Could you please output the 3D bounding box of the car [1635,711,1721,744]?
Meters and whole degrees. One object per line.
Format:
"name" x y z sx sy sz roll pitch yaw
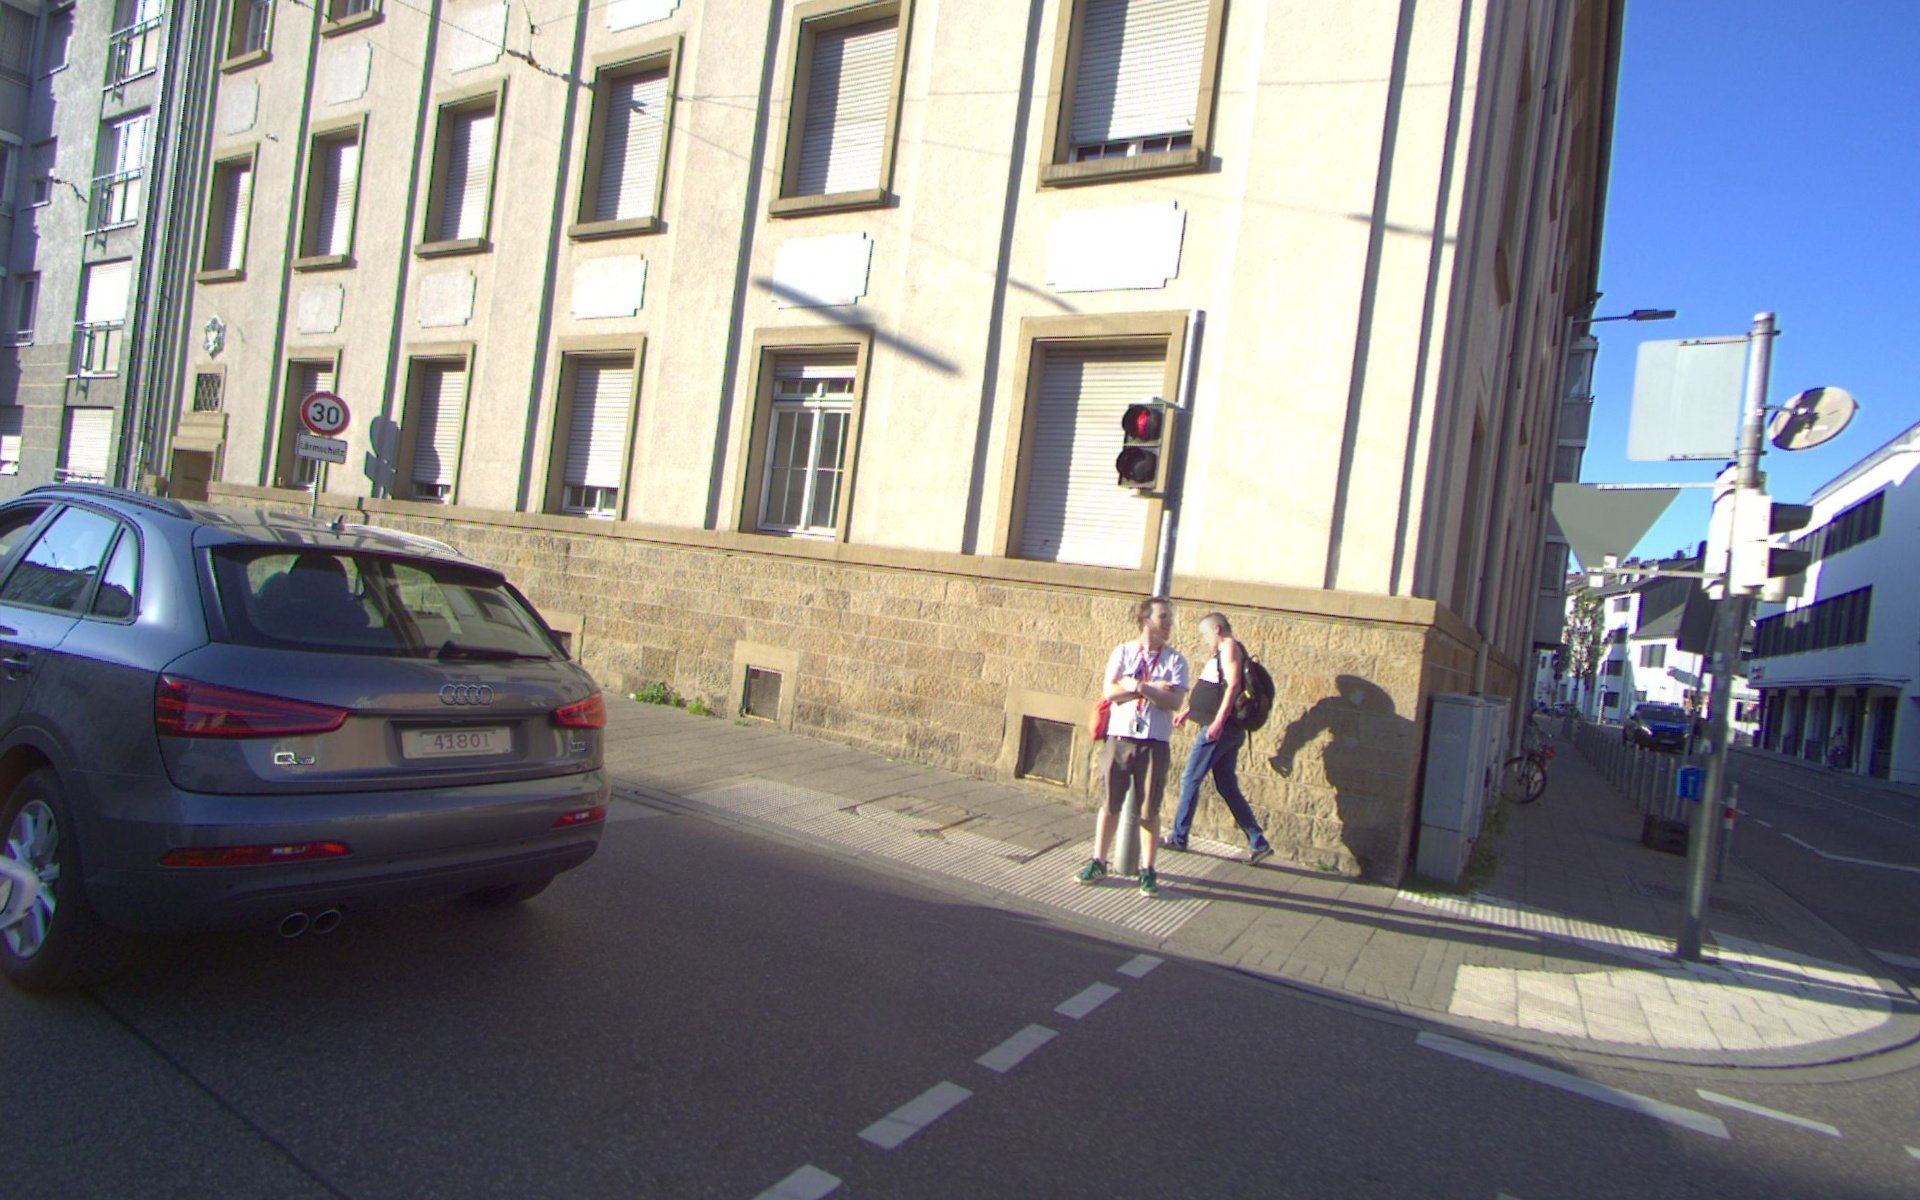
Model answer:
"car" 51.239 9.072 71.901 4.481 1.674 2.001 6 -2 24

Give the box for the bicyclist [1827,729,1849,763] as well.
"bicyclist" 35.621 5.920 40.802 0.478 1.310 0.499 6 -1 29

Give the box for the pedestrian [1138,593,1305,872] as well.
"pedestrian" 1.854 0.900 7.110 0.811 1.778 0.630 6 -2 31

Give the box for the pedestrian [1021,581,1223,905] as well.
"pedestrian" 1.027 0.846 6.278 0.810 1.783 0.837 6 -1 31

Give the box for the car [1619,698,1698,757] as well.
"car" 28.547 5.151 41.230 1.966 2.024 4.481 6 -1 29

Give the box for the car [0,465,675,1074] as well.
"car" -3.472 0.358 4.402 4.153 1.570 1.702 6 -2 29

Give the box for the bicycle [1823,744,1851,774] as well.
"bicycle" 35.546 6.435 40.780 0.478 1.089 1.312 6 -1 29

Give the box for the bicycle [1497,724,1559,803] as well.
"bicycle" 7.985 2.300 14.121 1.499 1.029 0.246 9 -3 -43
